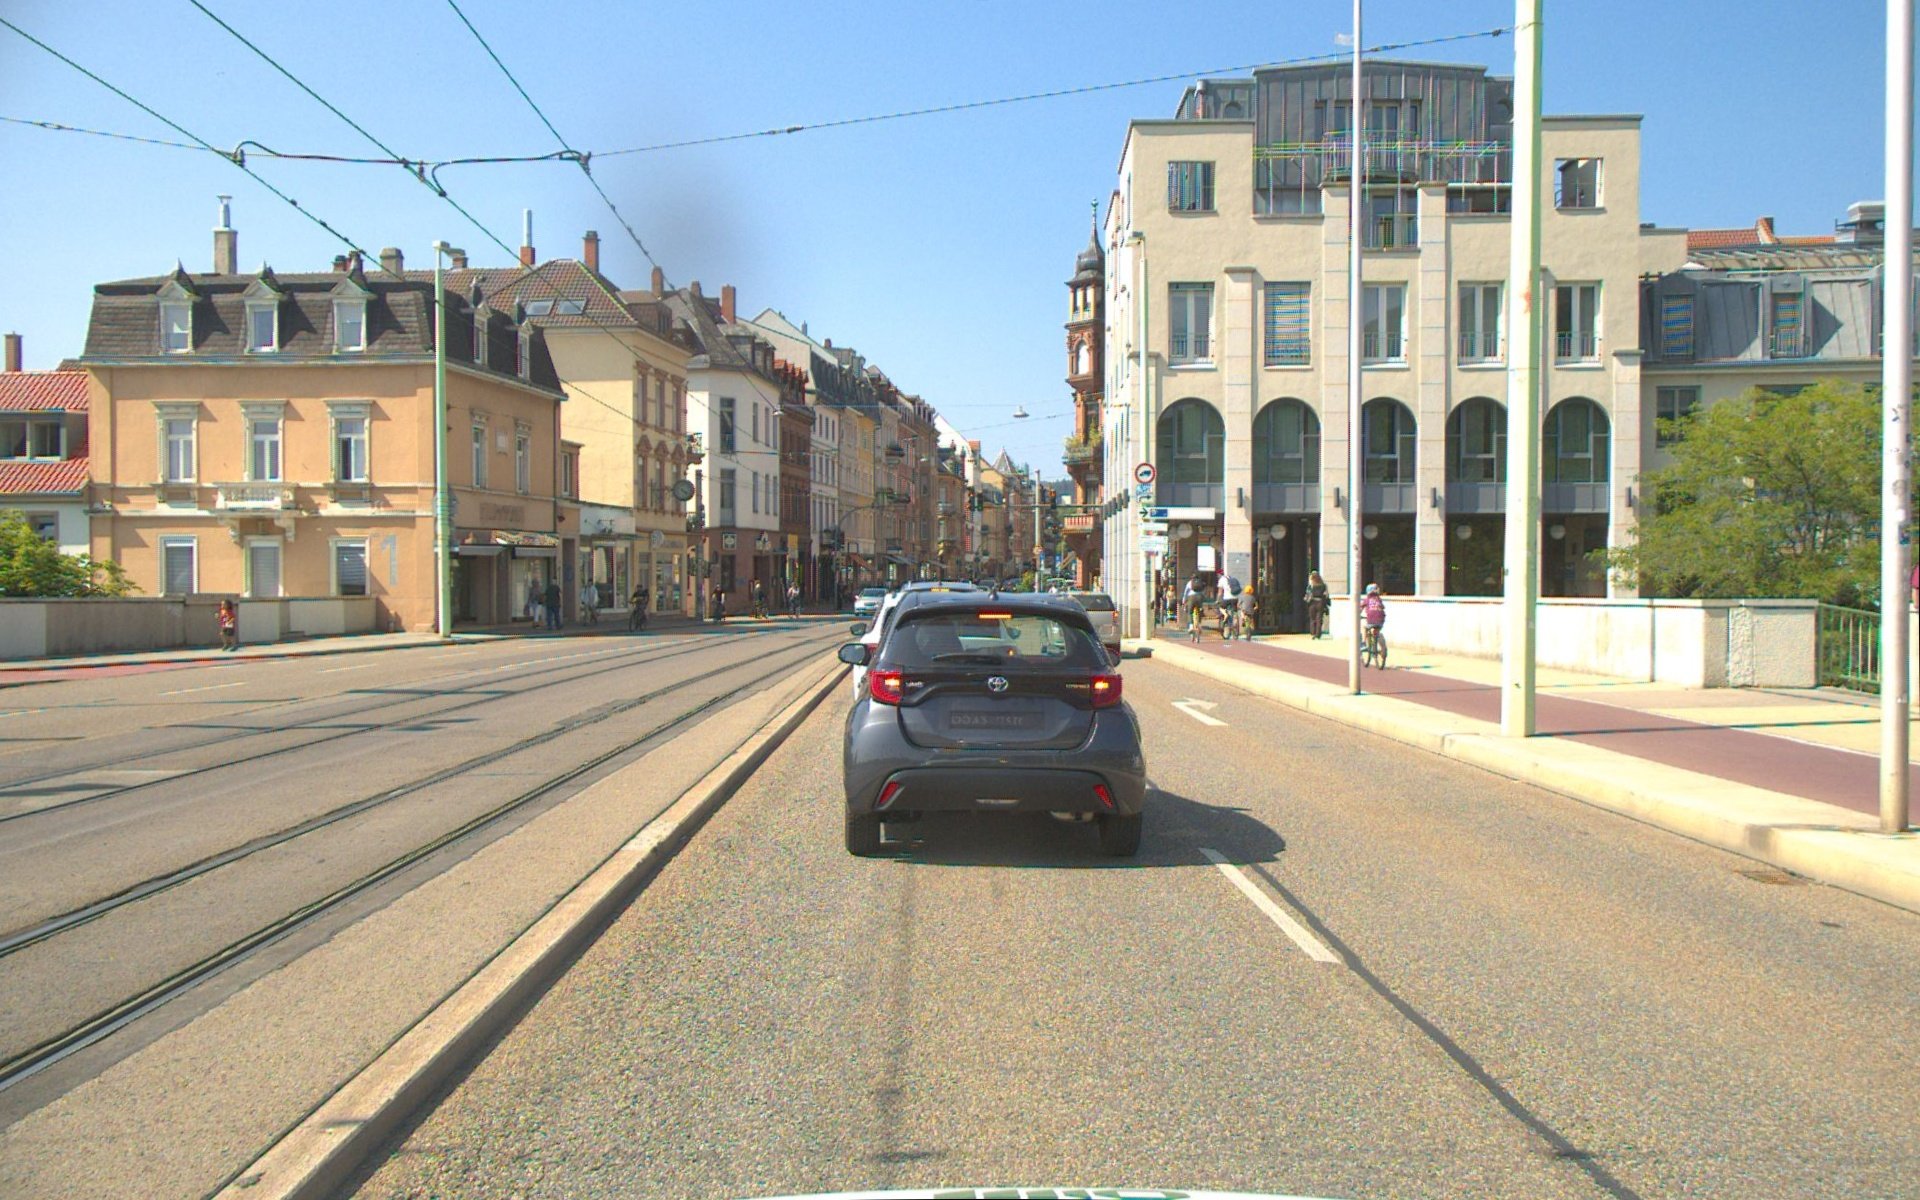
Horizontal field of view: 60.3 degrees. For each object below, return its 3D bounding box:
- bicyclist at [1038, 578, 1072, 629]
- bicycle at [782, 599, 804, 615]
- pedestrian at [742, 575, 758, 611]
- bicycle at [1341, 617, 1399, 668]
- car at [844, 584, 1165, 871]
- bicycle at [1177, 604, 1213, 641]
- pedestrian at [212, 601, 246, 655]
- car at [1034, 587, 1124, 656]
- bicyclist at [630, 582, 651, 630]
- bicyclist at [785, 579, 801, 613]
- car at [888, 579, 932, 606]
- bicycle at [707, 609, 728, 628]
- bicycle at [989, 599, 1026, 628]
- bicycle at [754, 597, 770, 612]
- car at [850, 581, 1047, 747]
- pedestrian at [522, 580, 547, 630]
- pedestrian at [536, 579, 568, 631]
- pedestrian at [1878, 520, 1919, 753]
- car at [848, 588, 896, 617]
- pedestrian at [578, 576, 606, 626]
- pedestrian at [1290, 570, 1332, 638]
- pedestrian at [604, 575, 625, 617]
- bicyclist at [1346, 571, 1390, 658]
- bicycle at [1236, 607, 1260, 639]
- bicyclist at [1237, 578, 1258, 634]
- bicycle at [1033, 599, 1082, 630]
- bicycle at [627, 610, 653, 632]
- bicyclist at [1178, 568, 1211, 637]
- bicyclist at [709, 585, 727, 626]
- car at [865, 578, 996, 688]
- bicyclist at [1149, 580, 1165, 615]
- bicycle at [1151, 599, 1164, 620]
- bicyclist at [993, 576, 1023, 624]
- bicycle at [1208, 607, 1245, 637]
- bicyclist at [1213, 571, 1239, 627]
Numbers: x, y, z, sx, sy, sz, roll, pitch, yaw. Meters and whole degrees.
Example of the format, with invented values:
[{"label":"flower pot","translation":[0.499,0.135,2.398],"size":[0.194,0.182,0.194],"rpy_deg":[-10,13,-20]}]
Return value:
[{"label":"bicyclist","translation":[5.014,0.188,87.479],"size":[1.214,2.572,1.094],"rpy_deg":[4,0,-29]},{"label":"bicycle","translation":[-8.373,0.341,82.889],"size":[0.607,0.728,2.047],"rpy_deg":[2,1,8]},{"label":"pedestrian","translation":[-10.813,-0.363,85.081],"size":[0.721,1.797,0.787],"rpy_deg":[0,1,-1]},{"label":"bicycle","translation":[6.781,0.688,27.416],"size":[0.503,0.779,1.660],"rpy_deg":[-2,0,-1]},{"label":"car","translation":[0.202,0.667,10.663],"size":[1.685,1.499,3.657],"rpy_deg":[1,0,-1]},{"label":"bicycle","translation":[5.982,0.561,42.167],"size":[0.689,0.898,1.525],"rpy_deg":[-1,0,0]},{"label":"pedestrian","translation":[-16.377,0.623,37.064],"size":[0.403,1.166,0.545],"rpy_deg":[4,0,5]},{"label":"car","translation":[2.734,0.465,38.855],"size":[1.671,1.491,4.325],"rpy_deg":[1,0,-1]},{"label":"bicyclist","translation":[-11.480,0.208,59.427],"size":[0.614,1.679,0.622],"rpy_deg":[2,1,0]},{"label":"bicyclist","translation":[-8.355,-0.199,82.906],"size":[0.614,1.679,0.622],"rpy_deg":[2,1,8]},{"label":"car","translation":[-3.002,-0.458,99.426],"size":[1.951,1.614,4.656],"rpy_deg":[0,0,7]},{"label":"bicycle","translation":[-10.320,0.768,70.420],"size":[0.608,0.728,1.731],"rpy_deg":[2,1,-1]},{"label":"bicycle","translation":[2.659,0.747,93.059],"size":[1.095,1.444,2.992],"rpy_deg":[4,0,-18]},{"label":"bicycle","translation":[-10.134,0.210,84.803],"size":[0.607,0.728,1.771],"rpy_deg":[1,1,-1]},{"label":"car","translation":[-0.152,0.599,17.844],"size":[1.859,1.556,3.999],"rpy_deg":[1,0,-1]},{"label":"pedestrian","translation":[-14.612,0.161,56.804],"size":[0.636,1.629,0.566],"rpy_deg":[4,2,-1]},{"label":"pedestrian","translation":[-13.686,0.153,55.483],"size":[0.746,1.682,0.712],"rpy_deg":[4,0,7]},{"label":"pedestrian","translation":[7.910,0.278,13.042],"size":[0.724,1.833,1.015],"rpy_deg":[-2,0,-1]},{"label":"car","translation":[-4.593,0.124,86.819],"size":[1.694,1.486,4.377],"rpy_deg":[0,0,9]},{"label":"pedestrian","translation":[-13.644,0.037,61.334],"size":[0.721,1.796,0.787],"rpy_deg":[4,0,-1]},{"label":"pedestrian","translation":[8.871,0.106,41.821],"size":[0.724,1.642,1.015],"rpy_deg":[4,0,-1]},{"label":"pedestrian","translation":[-14.133,-0.168,67.714],"size":[0.636,1.629,0.566],"rpy_deg":[4,2,-1]},{"label":"bicyclist","translation":[6.760,0.237,27.404],"size":[0.523,1.407,0.669],"rpy_deg":[-2,0,-1]},{"label":"bicycle","translation":[7.368,0.577,42.359],"size":[0.408,0.779,0.961],"rpy_deg":[-2,0,-1]},{"label":"bicyclist","translation":[7.354,0.160,42.380],"size":[0.413,1.407,0.443],"rpy_deg":[-2,0,-1]},{"label":"bicycle","translation":[5.135,0.742,87.233],"size":[1.100,1.444,2.978],"rpy_deg":[4,0,-29]},{"label":"bicycle","translation":[-11.490,0.742,59.402],"size":[0.608,0.728,1.771],"rpy_deg":[2,1,-1]},{"label":"bicyclist","translation":[5.971,0.060,42.151],"size":[0.687,1.725,0.924],"rpy_deg":[-1,0,-1]},{"label":"bicyclist","translation":[-10.309,0.227,70.450],"size":[0.614,1.679,0.622],"rpy_deg":[2,1,0]},{"label":"car","translation":[-0.473,0.460,25.906],"size":[1.859,1.556,3.999],"rpy_deg":[1,0,-1]},{"label":"bicyclist","translation":[7.578,-0.088,63.608],"size":[0.527,1.339,0.672],"rpy_deg":[-1,0,4]},{"label":"bicycle","translation":[7.602,0.353,63.630],"size":[0.407,0.779,1.206],"rpy_deg":[-2,0,3]},{"label":"bicyclist","translation":[2.699,-0.007,93.082],"size":[1.210,2.572,1.098],"rpy_deg":[4,0,-20]},{"label":"bicycle","translation":[7.172,0.597,44.560],"size":[0.414,0.779,0.948],"rpy_deg":[-2,0,-39]},{"label":"bicyclist","translation":[7.164,-0.023,44.544],"size":[0.480,1.492,0.437],"rpy_deg":[-2,0,-40]}]
